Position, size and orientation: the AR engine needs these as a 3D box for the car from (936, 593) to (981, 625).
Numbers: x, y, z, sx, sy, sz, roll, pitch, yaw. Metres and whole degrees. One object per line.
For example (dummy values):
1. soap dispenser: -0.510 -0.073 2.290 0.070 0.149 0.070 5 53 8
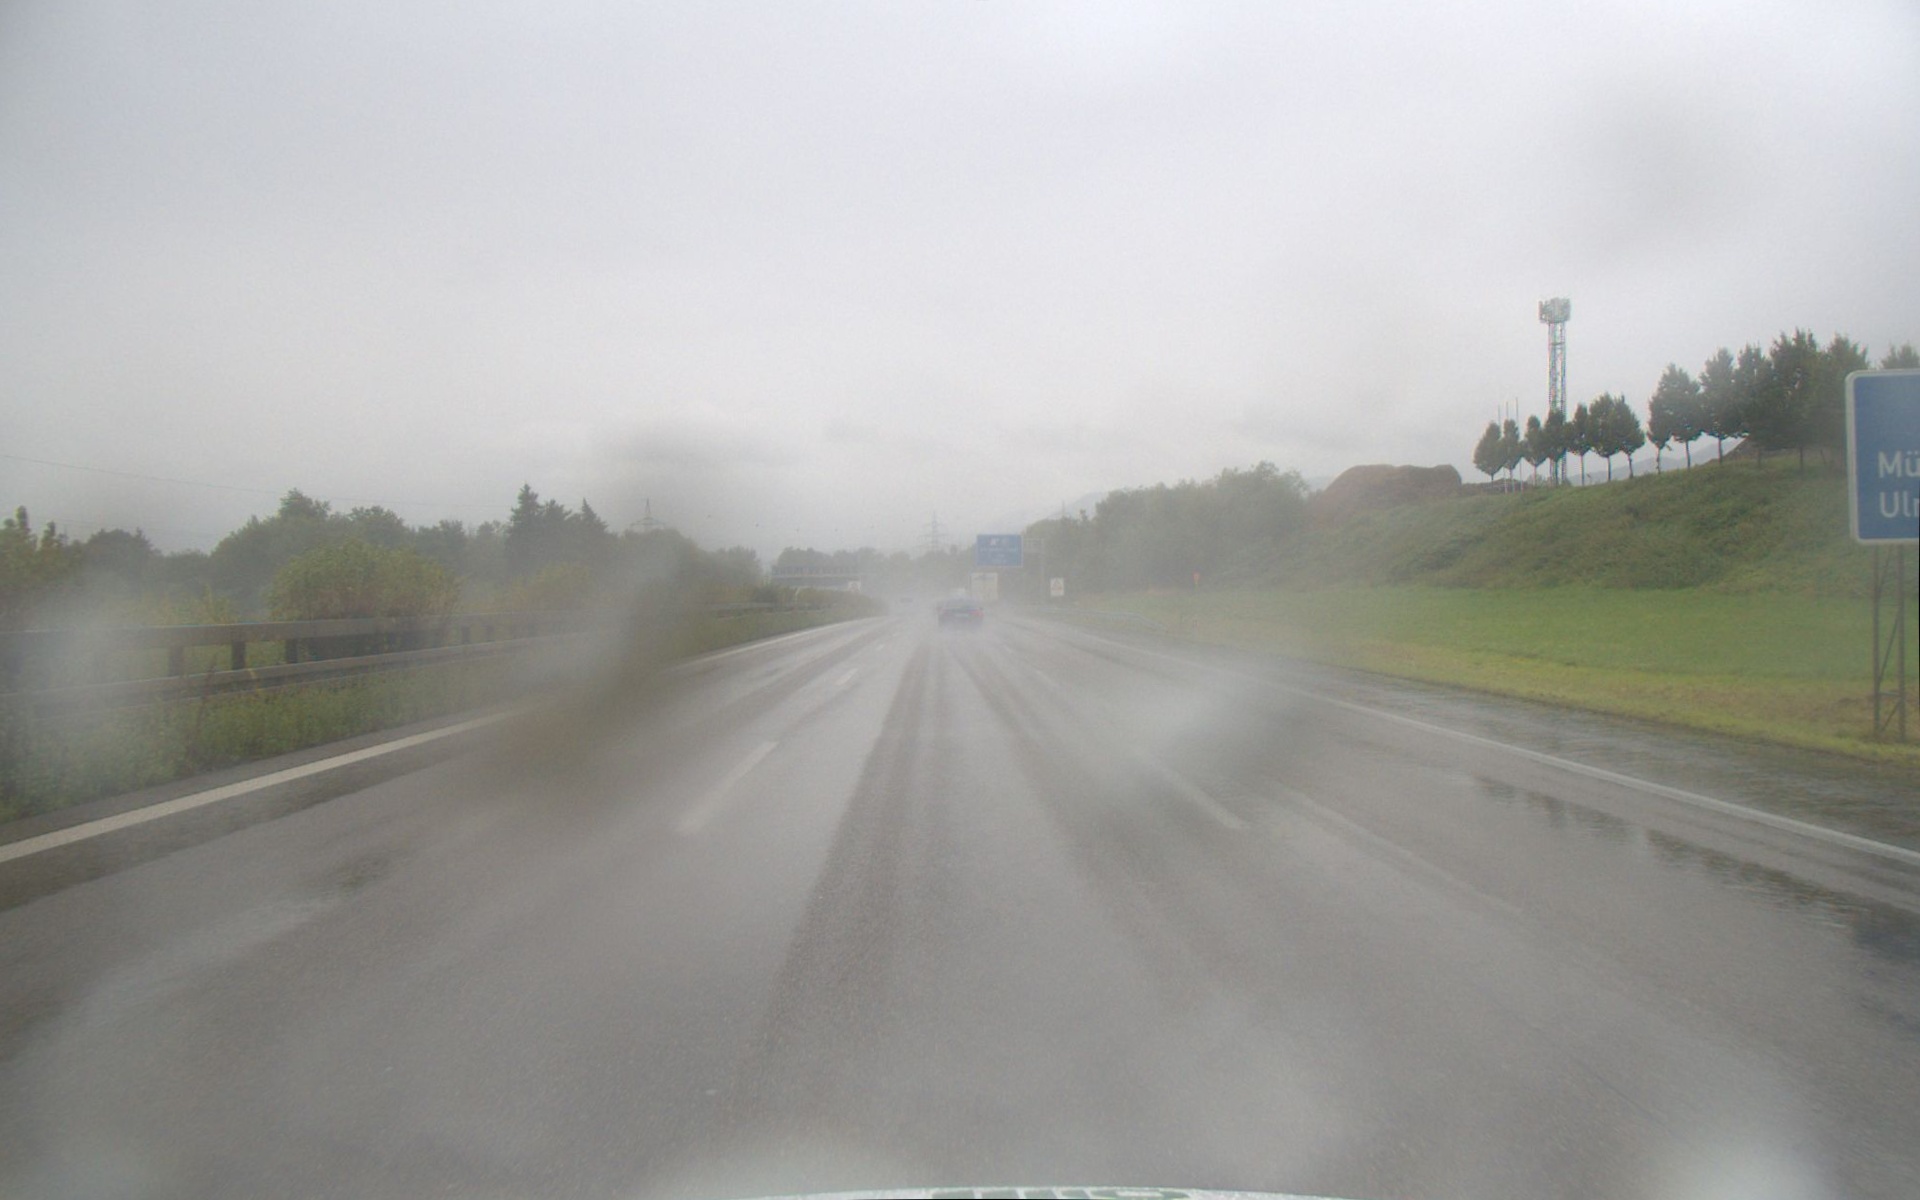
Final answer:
1. car: -0.080 0.343 66.143 1.713 1.233 3.999 0 0 -2

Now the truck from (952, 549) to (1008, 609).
1. truck: 1.733 -1.938 154.896 4.172 5.058 17.332 -3 0 -2
